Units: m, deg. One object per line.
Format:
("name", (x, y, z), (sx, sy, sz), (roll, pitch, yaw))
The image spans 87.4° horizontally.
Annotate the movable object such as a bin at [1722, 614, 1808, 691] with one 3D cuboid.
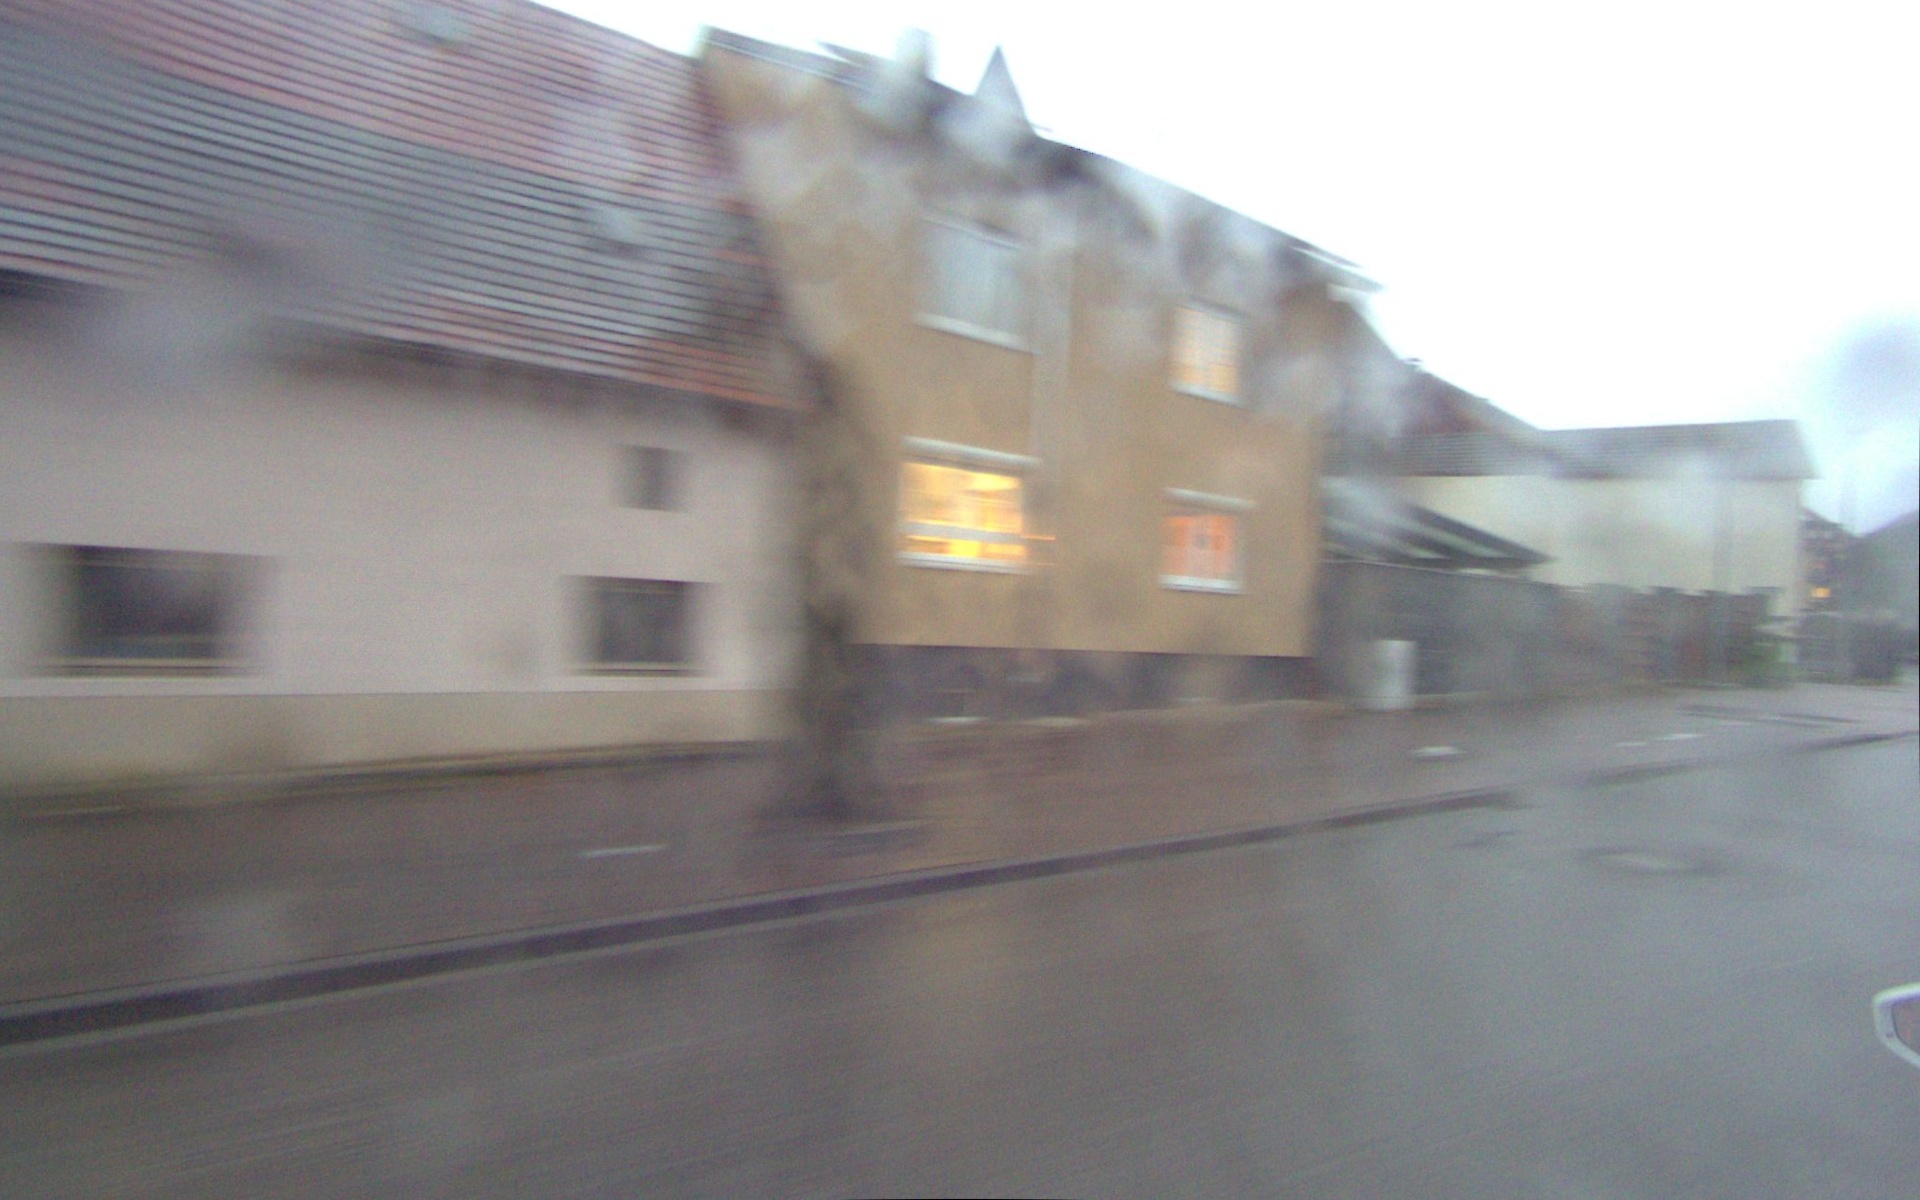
("movable object such as a bin", (17.138, 1.090, 21.393), (1.275, 1.564, 1.089), (1, -1, -33))
